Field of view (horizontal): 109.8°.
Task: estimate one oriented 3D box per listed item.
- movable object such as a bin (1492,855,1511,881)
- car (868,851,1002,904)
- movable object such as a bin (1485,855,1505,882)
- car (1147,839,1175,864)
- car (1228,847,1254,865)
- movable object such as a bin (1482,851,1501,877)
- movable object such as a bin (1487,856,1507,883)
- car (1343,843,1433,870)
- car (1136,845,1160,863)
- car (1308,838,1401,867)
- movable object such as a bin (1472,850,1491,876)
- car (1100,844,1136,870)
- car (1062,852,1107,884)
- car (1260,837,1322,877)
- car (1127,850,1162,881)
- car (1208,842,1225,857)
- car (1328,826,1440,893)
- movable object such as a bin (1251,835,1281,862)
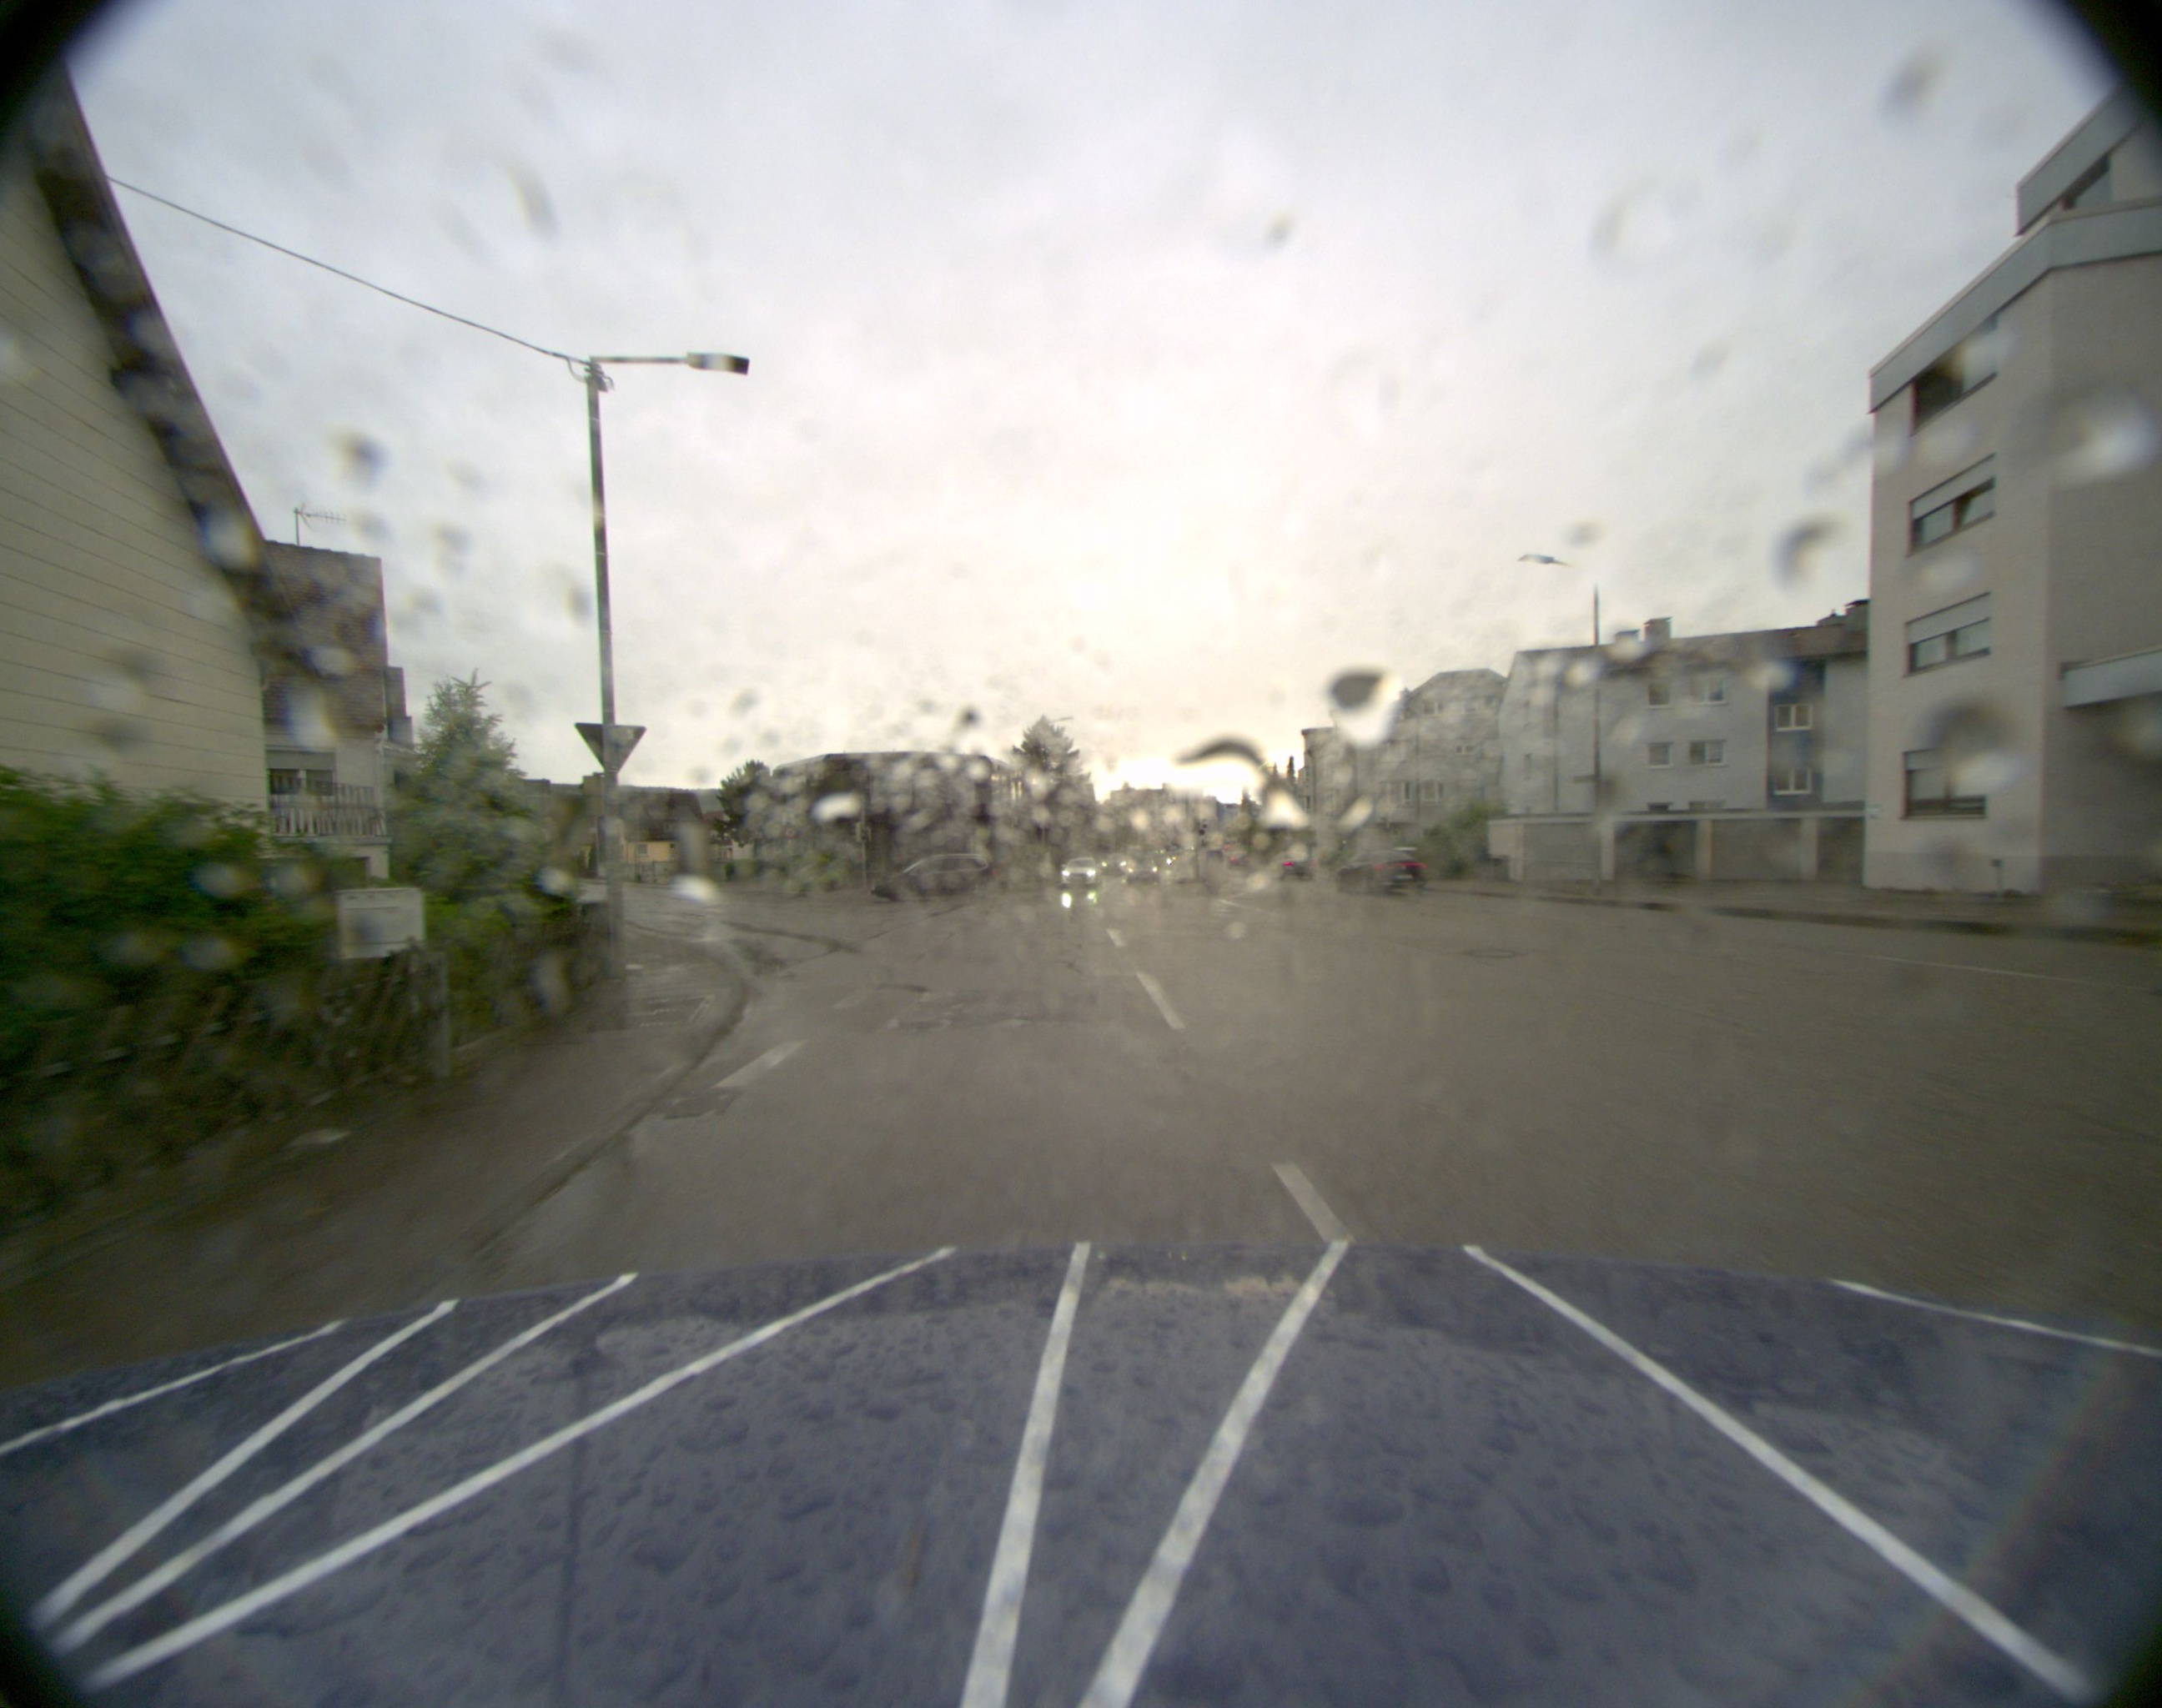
[{"bbox_3d":[15.553,0.513,28.111,0.499,0.955,0.602,-1,1,18],"label":"movable object such as a bin"},{"bbox_3d":[-5.642,0.858,29.423,4.655,1.739,1.995,-2,1,-28],"label":"car"},{"bbox_3d":[15.935,0.553,29.245,0.499,0.955,0.535,-5,1,18],"label":"movable object such as a bin"},{"bbox_3d":[6.993,-0.215,66.066,1.997,2.002,4.003,-1,0,12],"label":"car"},{"bbox_3d":[13.738,0.150,65.559,1.791,1.464,4.165,-1,0,7],"label":"car"},{"bbox_3d":[16.076,0.398,29.752,0.499,0.955,0.535,-5,1,18],"label":"movable object such as a bin"},{"bbox_3d":[15.739,0.570,28.733,0.499,0.955,0.535,-5,1,18],"label":"movable object such as a bin"},{"bbox_3d":[17.826,0.139,44.346,4.618,1.488,1.931,-1,1,13],"label":"car"},{"bbox_3d":[7.082,-0.035,79.892,1.996,1.849,4.003,1,1,12],"label":"car"},{"bbox_3d":[17.800,-0.091,49.718,5.470,1.674,2.150,-1,0,13],"label":"car"},{"bbox_3d":[16.355,0.371,31.030,0.499,1.013,0.688,-5,1,19],"label":"movable object such as a bin"},{"bbox_3d":[2.796,0.223,56.509,1.996,1.849,4.003,1,1,12],"label":"car"},{"bbox_3d":[0.234,0.669,38.543,1.829,1.431,4.346,-2,1,6],"label":"car"},{"bbox_3d":[11.463,0.161,41.905,2.094,2.002,5.981,-2,0,4],"label":"car"},{"bbox_3d":[3.401,0.573,40.189,1.651,1.547,3.353,-1,0,7],"label":"car"},{"bbox_3d":[17.985,-0.634,100.721,2.100,1.822,4.737,-1,0,11],"label":"car"},{"bbox_3d":[9.989,0.160,25.510,1.998,2.002,4.652,-2,0,2],"label":"car"},{"bbox_3d":[20.624,-0.596,84.684,2.921,2.825,2.200,-1,1,23],"label":"movable object such as a bin"}]
